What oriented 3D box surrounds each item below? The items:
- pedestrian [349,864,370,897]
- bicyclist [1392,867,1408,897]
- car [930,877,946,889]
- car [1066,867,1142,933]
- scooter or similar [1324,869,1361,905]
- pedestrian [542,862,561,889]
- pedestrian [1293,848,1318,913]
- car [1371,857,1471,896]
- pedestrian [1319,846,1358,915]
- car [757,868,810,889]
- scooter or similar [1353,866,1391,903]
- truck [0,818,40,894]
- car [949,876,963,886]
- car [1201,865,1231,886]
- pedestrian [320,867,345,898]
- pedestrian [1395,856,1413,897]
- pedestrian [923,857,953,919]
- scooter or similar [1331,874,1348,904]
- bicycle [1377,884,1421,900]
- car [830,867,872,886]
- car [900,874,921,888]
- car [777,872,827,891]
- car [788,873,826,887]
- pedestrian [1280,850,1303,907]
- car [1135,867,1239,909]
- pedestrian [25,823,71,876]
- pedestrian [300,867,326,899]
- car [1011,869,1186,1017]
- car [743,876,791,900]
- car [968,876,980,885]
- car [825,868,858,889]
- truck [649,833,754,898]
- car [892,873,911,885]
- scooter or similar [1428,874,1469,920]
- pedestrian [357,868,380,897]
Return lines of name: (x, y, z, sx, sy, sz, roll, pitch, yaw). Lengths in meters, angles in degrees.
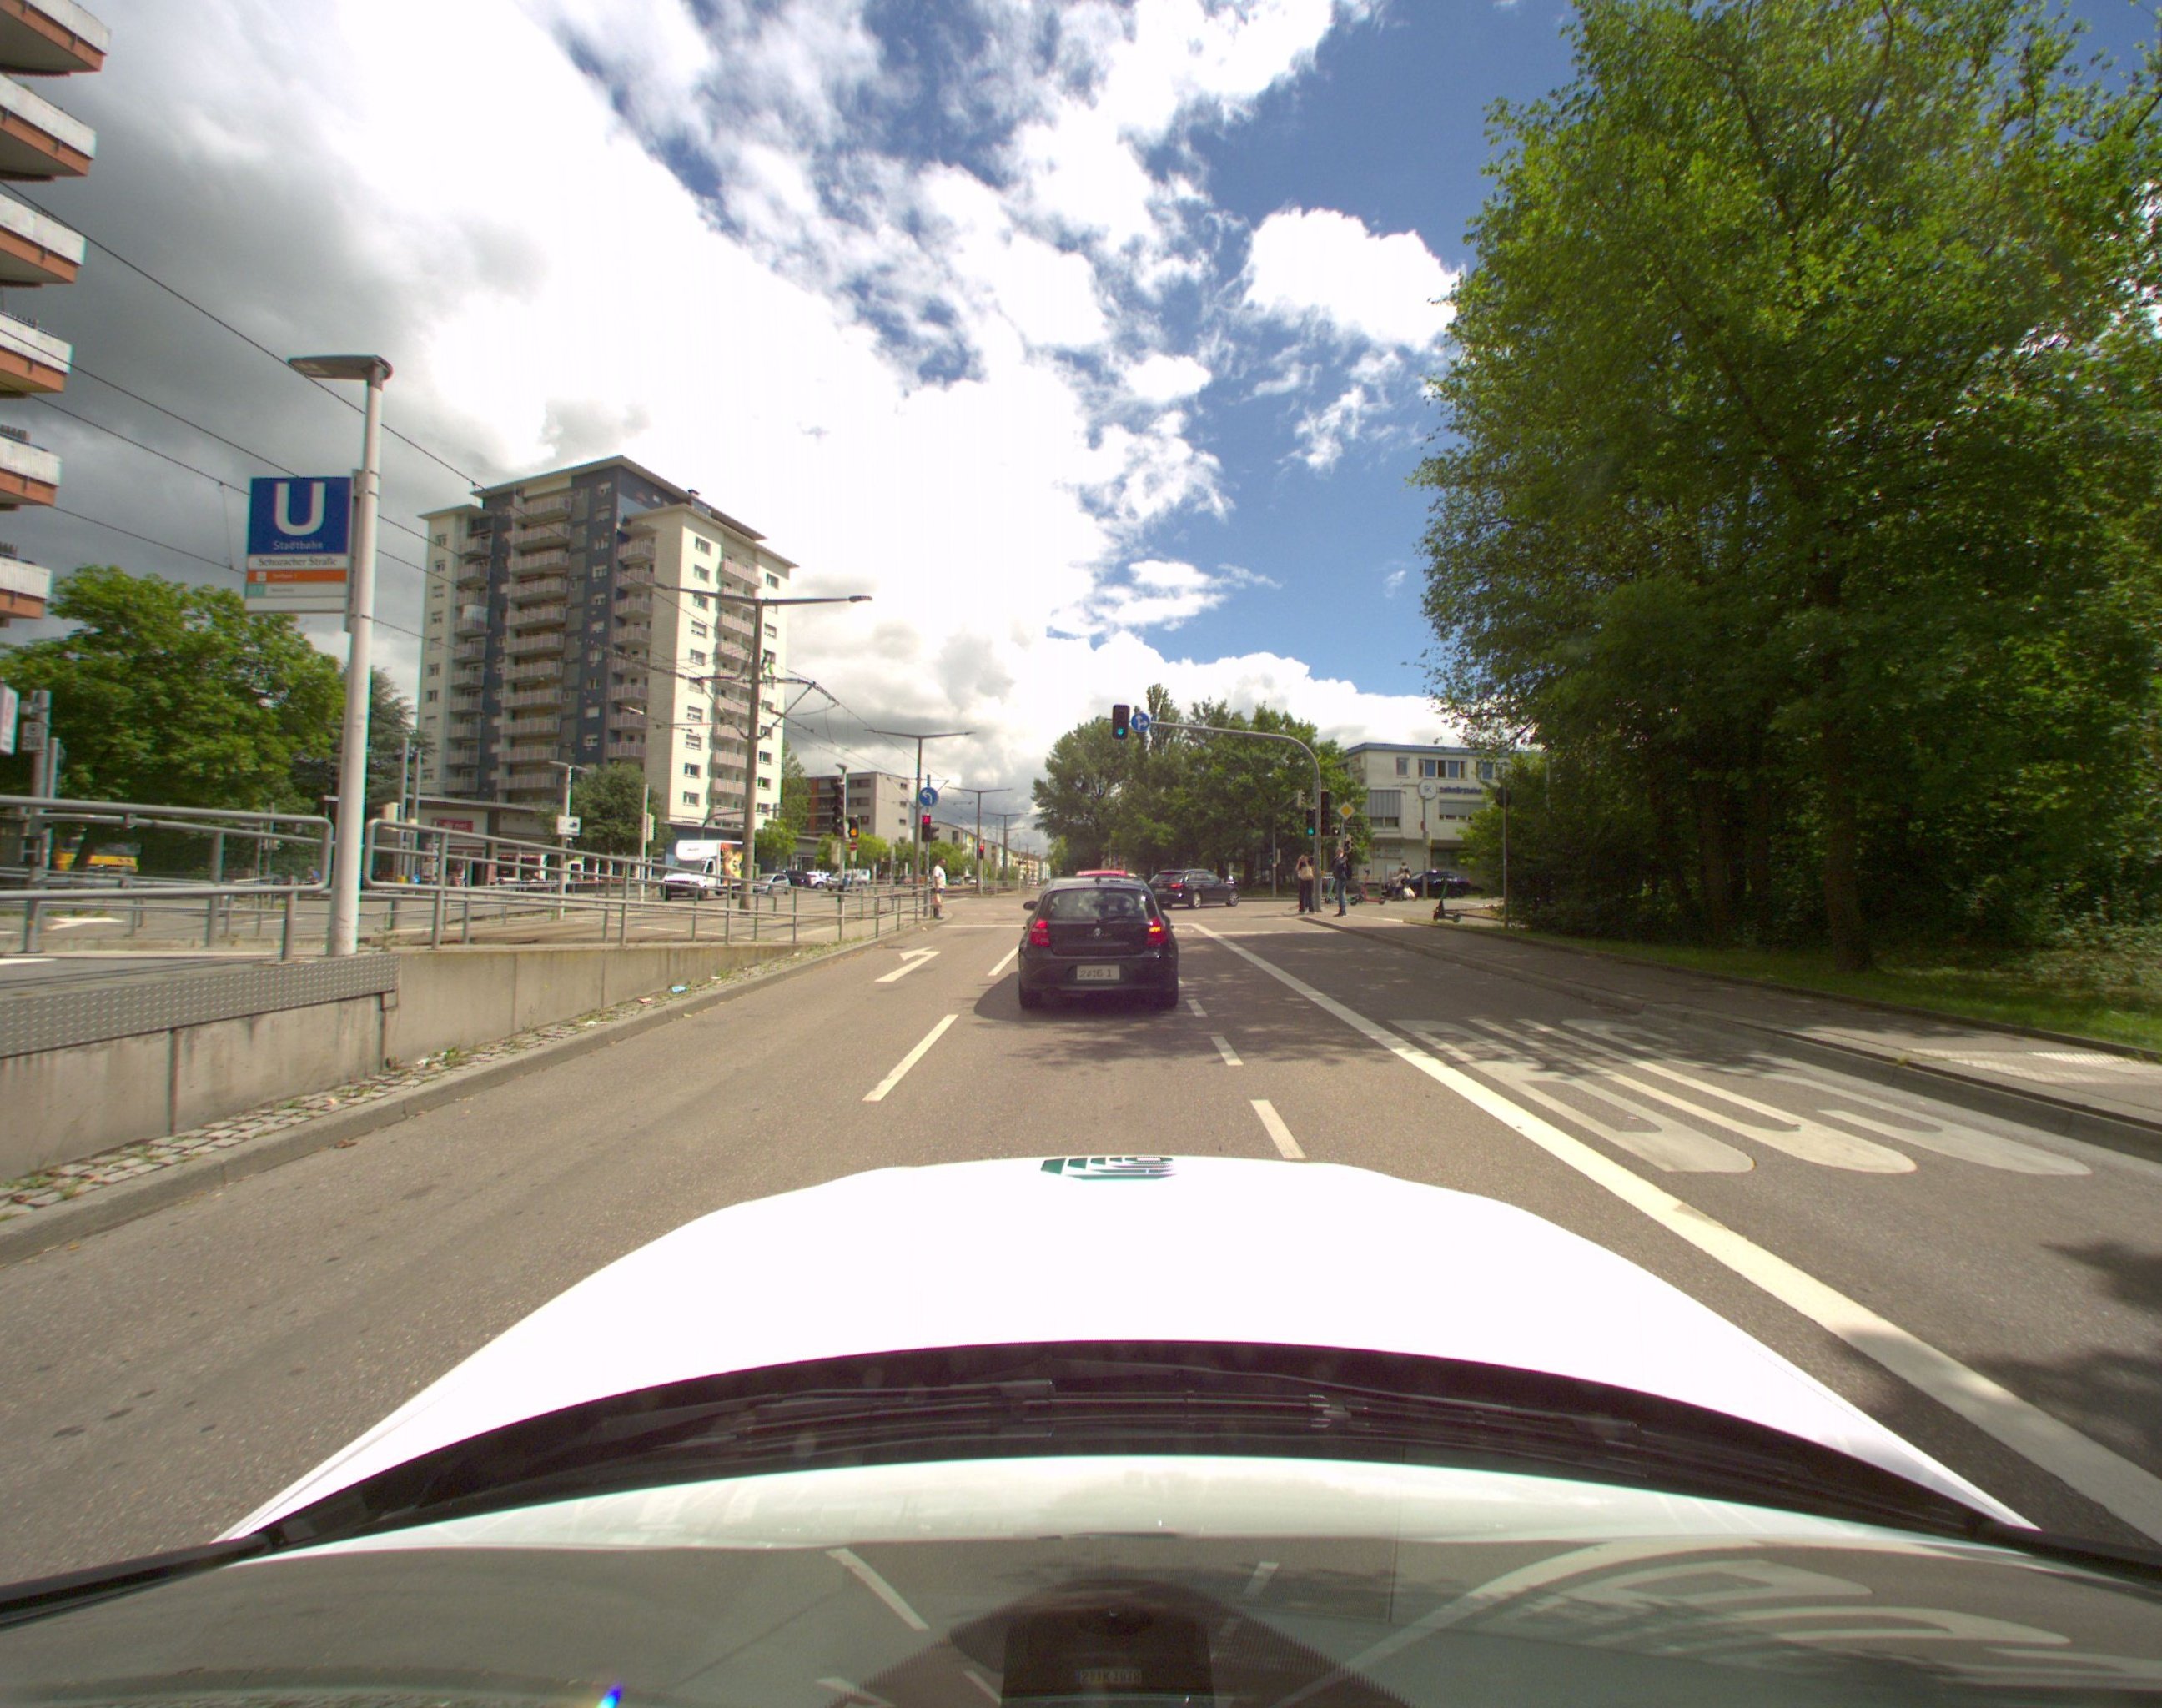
pedestrian: (-37.462, 1.375, 42.265, 0.365, 1.671, 0.718, 0, -1, 5)
bicyclist: (12.648, 1.114, 32.304, 0.505, 1.157, 0.395, 1, -1, -43)
car: (-20.158, 4.064, 114.926, 1.646, 1.534, 3.871, 0, -1, 0)
car: (0.559, 1.008, 19.206, 1.632, 1.400, 3.421, 0, -1, 2)
scooter or similar: (8.988, 1.135, 28.016, 1.105, 1.235, 0.540, 0, -1, 4)
pedestrian: (-39.458, 1.597, 60.691, 0.851, 2.014, 0.852, -1, -1, 29)
pedestrian: (6.576, 0.758, 23.837, 0.632, 1.876, 0.519, 0, -1, 8)
car: (18.069, 1.166, 43.339, 4.528, 2.014, 1.996, 0, -1, -6)
pedestrian: (7.237, 0.732, 22.893, 0.792, 1.876, 1.014, 0, -1, 2)
car: (-25.019, 2.022, 68.541, 4.013, 1.687, 1.561, 0, -1, -31)
scooter or similar: (10.313, 1.084, 28.906, 1.145, 1.272, 0.556, 1, -1, 4)
truck: (-34.553, 0.029, 24.181, 4.262, 2.290, 2.352, 0, -1, 2)
car: (-20.609, 4.424, 133.862, 1.646, 1.534, 3.871, 0, -1, 0)
car: (12.368, 1.994, 74.823, 1.724, 1.871, 3.990, 0, -1, -7)
pedestrian: (-35.791, 1.349, 38.953, 0.557, 1.480, 0.663, 0, -1, -1)
pedestrian: (13.733, 0.943, 34.597, 0.651, 1.713, 0.464, -1, -1, 28)
pedestrian: (-4.069, 0.962, 23.155, 0.685, 1.734, 0.688, -1, -1, 2)
scooter or similar: (9.526, 1.260, 30.021, 0.543, 1.064, 1.267, -1, -1, 16)
bicycle: (12.618, 1.507, 32.342, 0.537, 0.610, 1.571, 1, -1, -42)
car: (-24.082, 2.339, 85.284, 3.944, 1.975, 1.637, 0, -1, -40)
car: (-20.391, 3.210, 97.669, 1.646, 1.534, 3.871, 0, -1, 0)
car: (-25.239, 2.461, 73.794, 3.946, 1.647, 1.636, 0, -1, -44)
car: (-25.862, 2.487, 76.995, 3.120, 1.281, 1.453, 1, -1, -36)
pedestrian: (6.622, 0.776, 25.656, 0.632, 1.766, 0.519, 0, -1, 8)
car: (4.080, 1.224, 30.672, 1.882, 1.422, 4.567, -1, -1, 37)
pedestrian: (-34.665, -0.141, 27.328, 0.653, 1.776, 0.663, 0, -1, 3)
pedestrian: (-35.201, 1.334, 37.346, 0.557, 1.468, 0.663, 0, -1, -5)
car: (0.227, 0.895, 9.615, 1.694, 1.400, 3.421, 0, -1, 2)
car: (-20.852, 2.252, 54.196, 1.400, 1.461, 3.780, 0, -1, 5)
car: (-19.374, 4.852, 147.736, 1.646, 1.534, 3.871, 0, -1, 0)
car: (-20.207, 2.067, 68.930, 1.586, 1.756, 3.775, 0, -1, 1)
truck: (-19.859, 0.613, 43.161, 2.275, 3.118, 7.312, 0, -1, -2)
car: (-23.748, 3.281, 108.038, 1.586, 1.474, 3.775, 0, -1, 1)
scooter or similar: (10.657, 1.241, 23.626, 0.886, 1.230, 0.455, 4, -1, 2)
pedestrian: (-35.800, 1.437, 40.902, 0.557, 1.417, 0.663, 0, -1, -5)
